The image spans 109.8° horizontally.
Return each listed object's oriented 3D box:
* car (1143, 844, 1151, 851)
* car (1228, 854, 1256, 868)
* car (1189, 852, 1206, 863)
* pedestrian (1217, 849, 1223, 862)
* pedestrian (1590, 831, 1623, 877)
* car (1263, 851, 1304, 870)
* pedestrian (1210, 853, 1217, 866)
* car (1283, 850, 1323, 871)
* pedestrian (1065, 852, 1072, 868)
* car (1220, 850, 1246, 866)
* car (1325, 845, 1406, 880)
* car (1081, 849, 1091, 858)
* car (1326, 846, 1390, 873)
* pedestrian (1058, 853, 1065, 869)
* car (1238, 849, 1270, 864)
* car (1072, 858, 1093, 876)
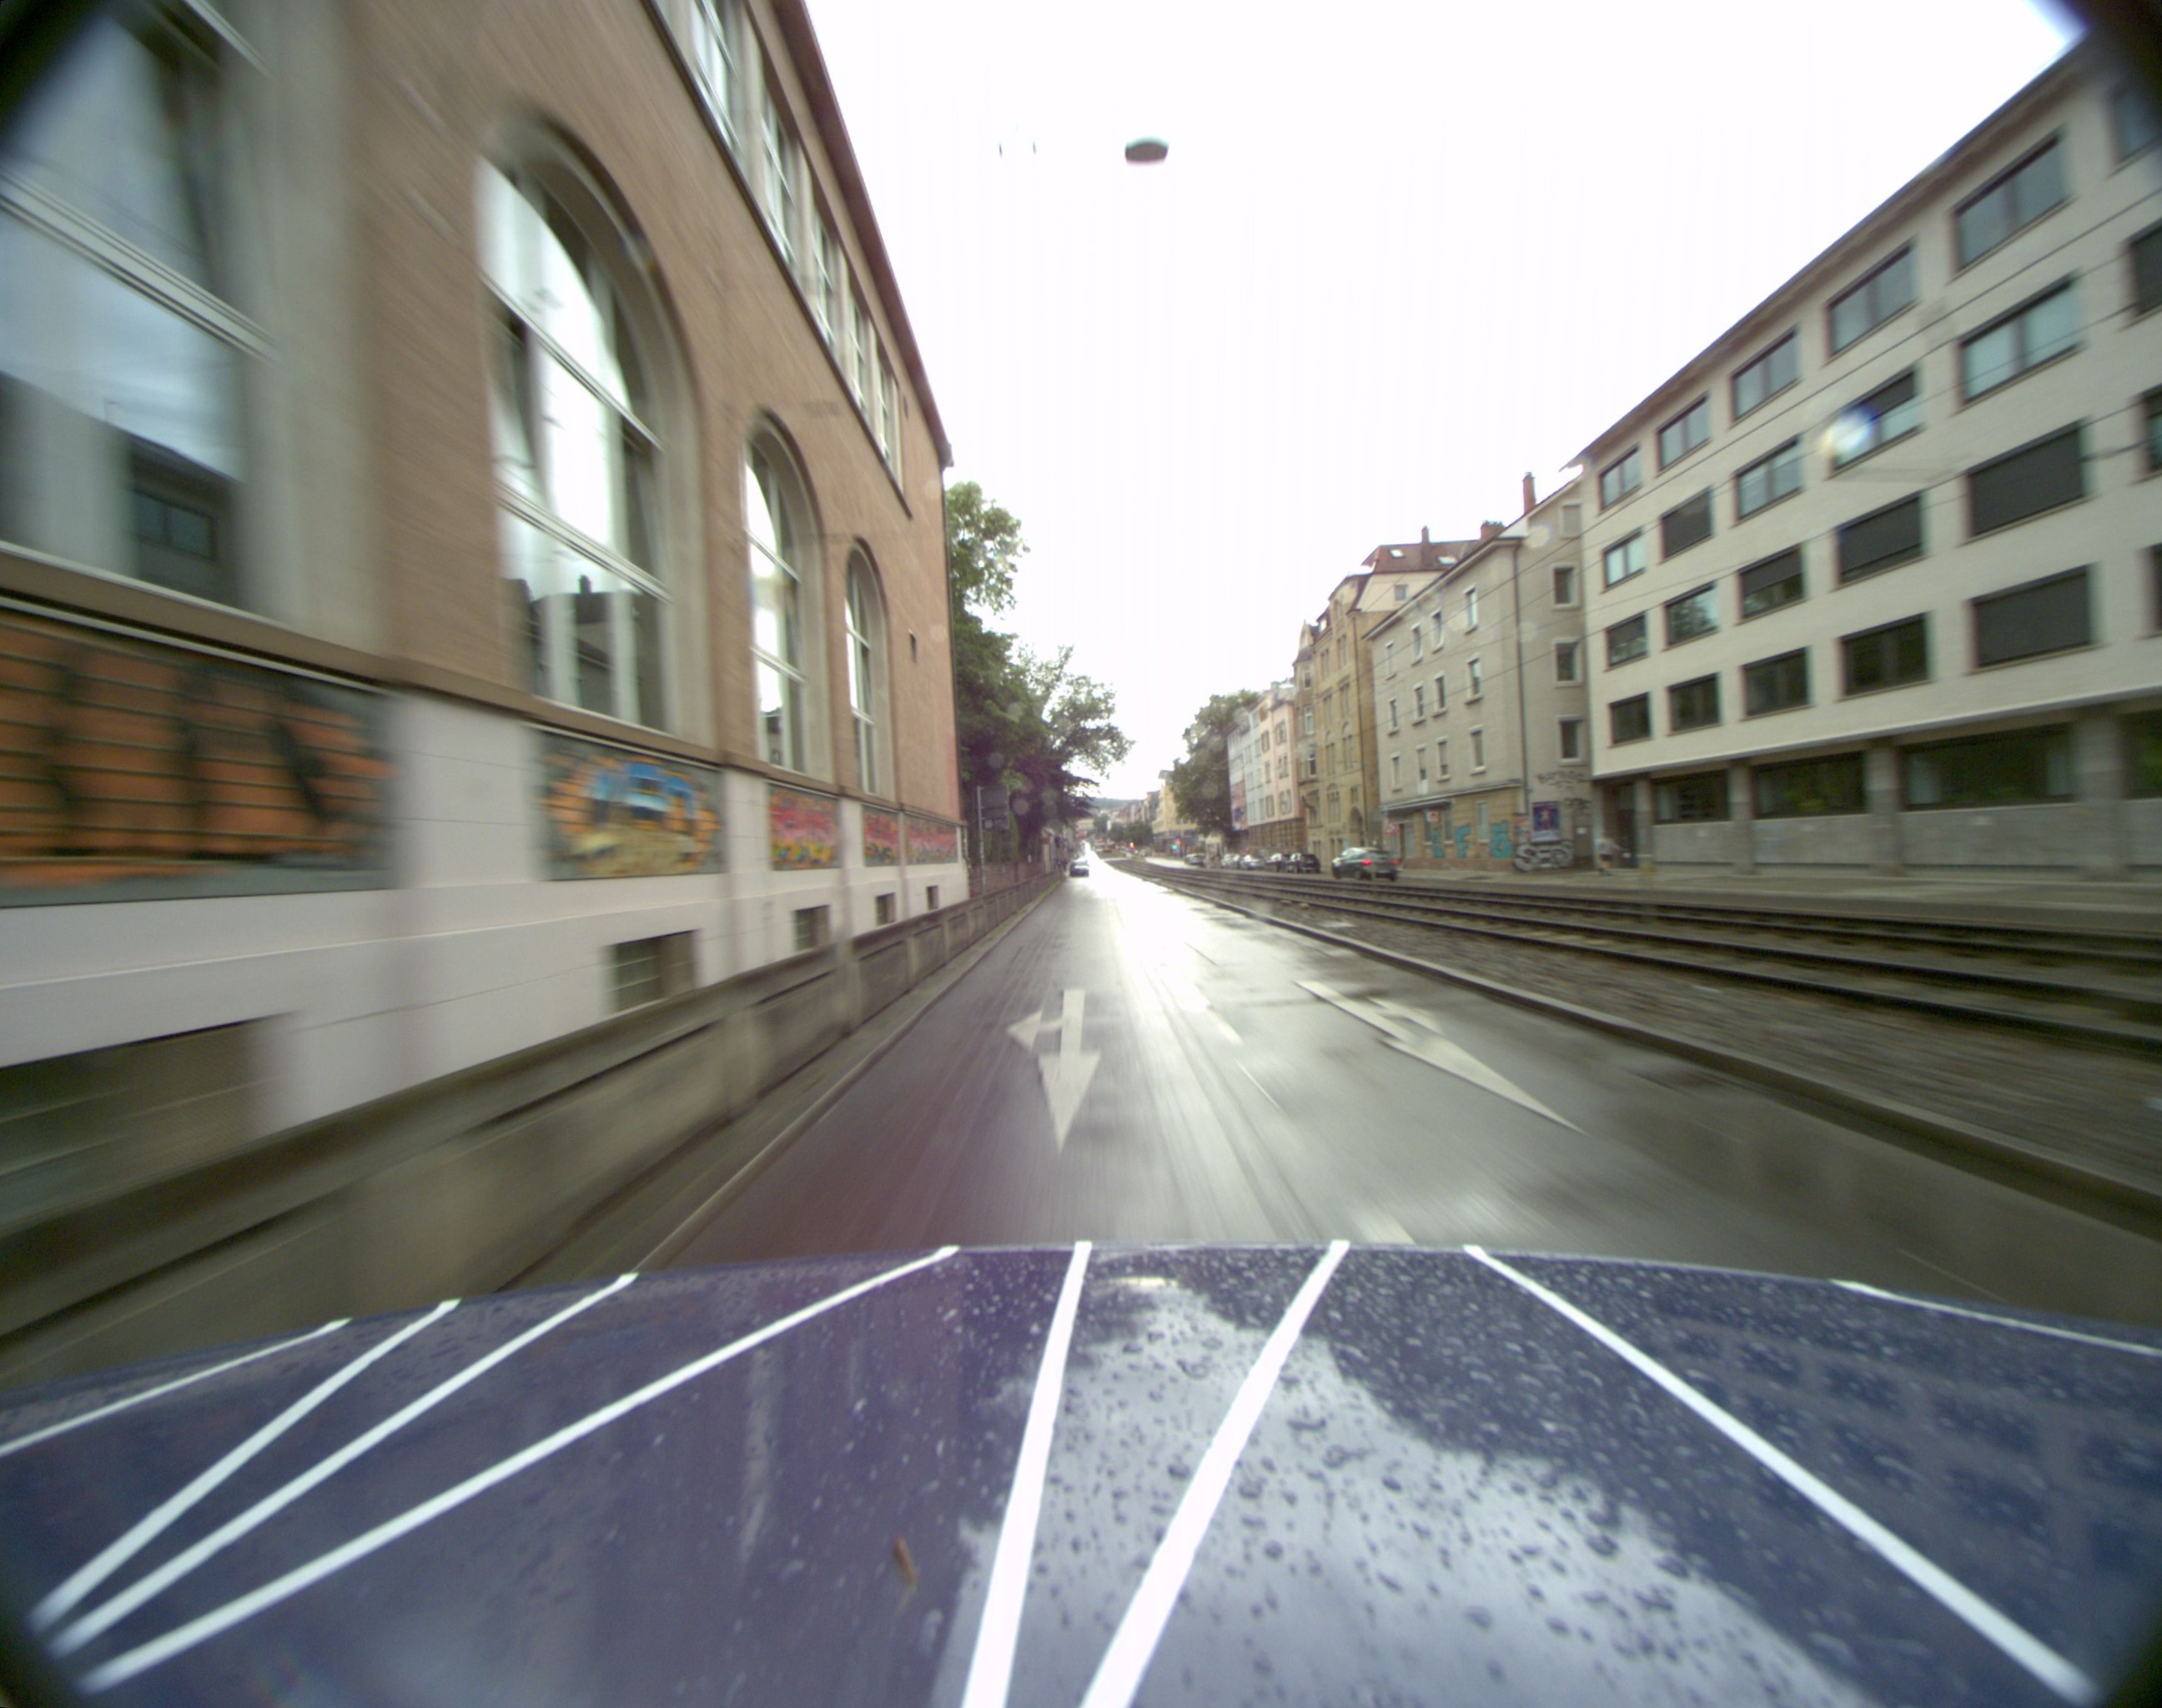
[{"bbox_3d":[19.419,-1.883,222.237,1.998,1.674,4.000,-3,0,1],"label":"car"},{"bbox_3d":[16.298,0.674,76.943,1.843,1.389,4.265,-1,0,-1],"label":"car"},{"bbox_3d":[17.056,0.544,111.364,1.842,1.532,4.228,-1,0,1],"label":"car"},{"bbox_3d":[20.083,0.258,109.843,0.651,1.857,0.536,-2,0,4],"label":"pedestrian"},{"bbox_3d":[19.169,-0.008,27.725,0.548,1.603,0.799,-6,0,3],"label":"pedestrian"},{"bbox_3d":[16.188,0.496,61.051,1.998,1.447,5.022,0,0,0],"label":"car"},{"bbox_3d":[19.149,0.753,109.743,0.809,1.857,0.536,-2,0,4],"label":"pedestrian"},{"bbox_3d":[16.174,0.453,55.521,1.741,1.447,4.170,0,0,0],"label":"car"},{"bbox_3d":[-1.432,0.736,90.029,0.716,1.879,0.599,-3,0,-1],"label":"pedestrian"},{"bbox_3d":[16.545,0.433,82.783,1.843,1.596,4.227,-1,0,-1],"label":"car"},{"bbox_3d":[13.034,0.367,35.164,1.945,1.527,4.347,0,0,-3],"label":"car"},{"bbox_3d":[1.105,-0.040,157.761,1.998,1.674,4.125,-3,0,1],"label":"car"},{"bbox_3d":[16.080,0.306,44.420,1.998,1.527,4.749,0,0,0],"label":"car"},{"bbox_3d":[-2.294,0.796,89.983,0.765,1.902,0.588,-3,0,-1],"label":"pedestrian"},{"bbox_3d":[16.309,0.242,71.729,1.998,1.389,5.022,0,0,1],"label":"car"},{"bbox_3d":[0.146,1.144,69.711,1.788,1.521,4.245,-3,0,1],"label":"car"}]
